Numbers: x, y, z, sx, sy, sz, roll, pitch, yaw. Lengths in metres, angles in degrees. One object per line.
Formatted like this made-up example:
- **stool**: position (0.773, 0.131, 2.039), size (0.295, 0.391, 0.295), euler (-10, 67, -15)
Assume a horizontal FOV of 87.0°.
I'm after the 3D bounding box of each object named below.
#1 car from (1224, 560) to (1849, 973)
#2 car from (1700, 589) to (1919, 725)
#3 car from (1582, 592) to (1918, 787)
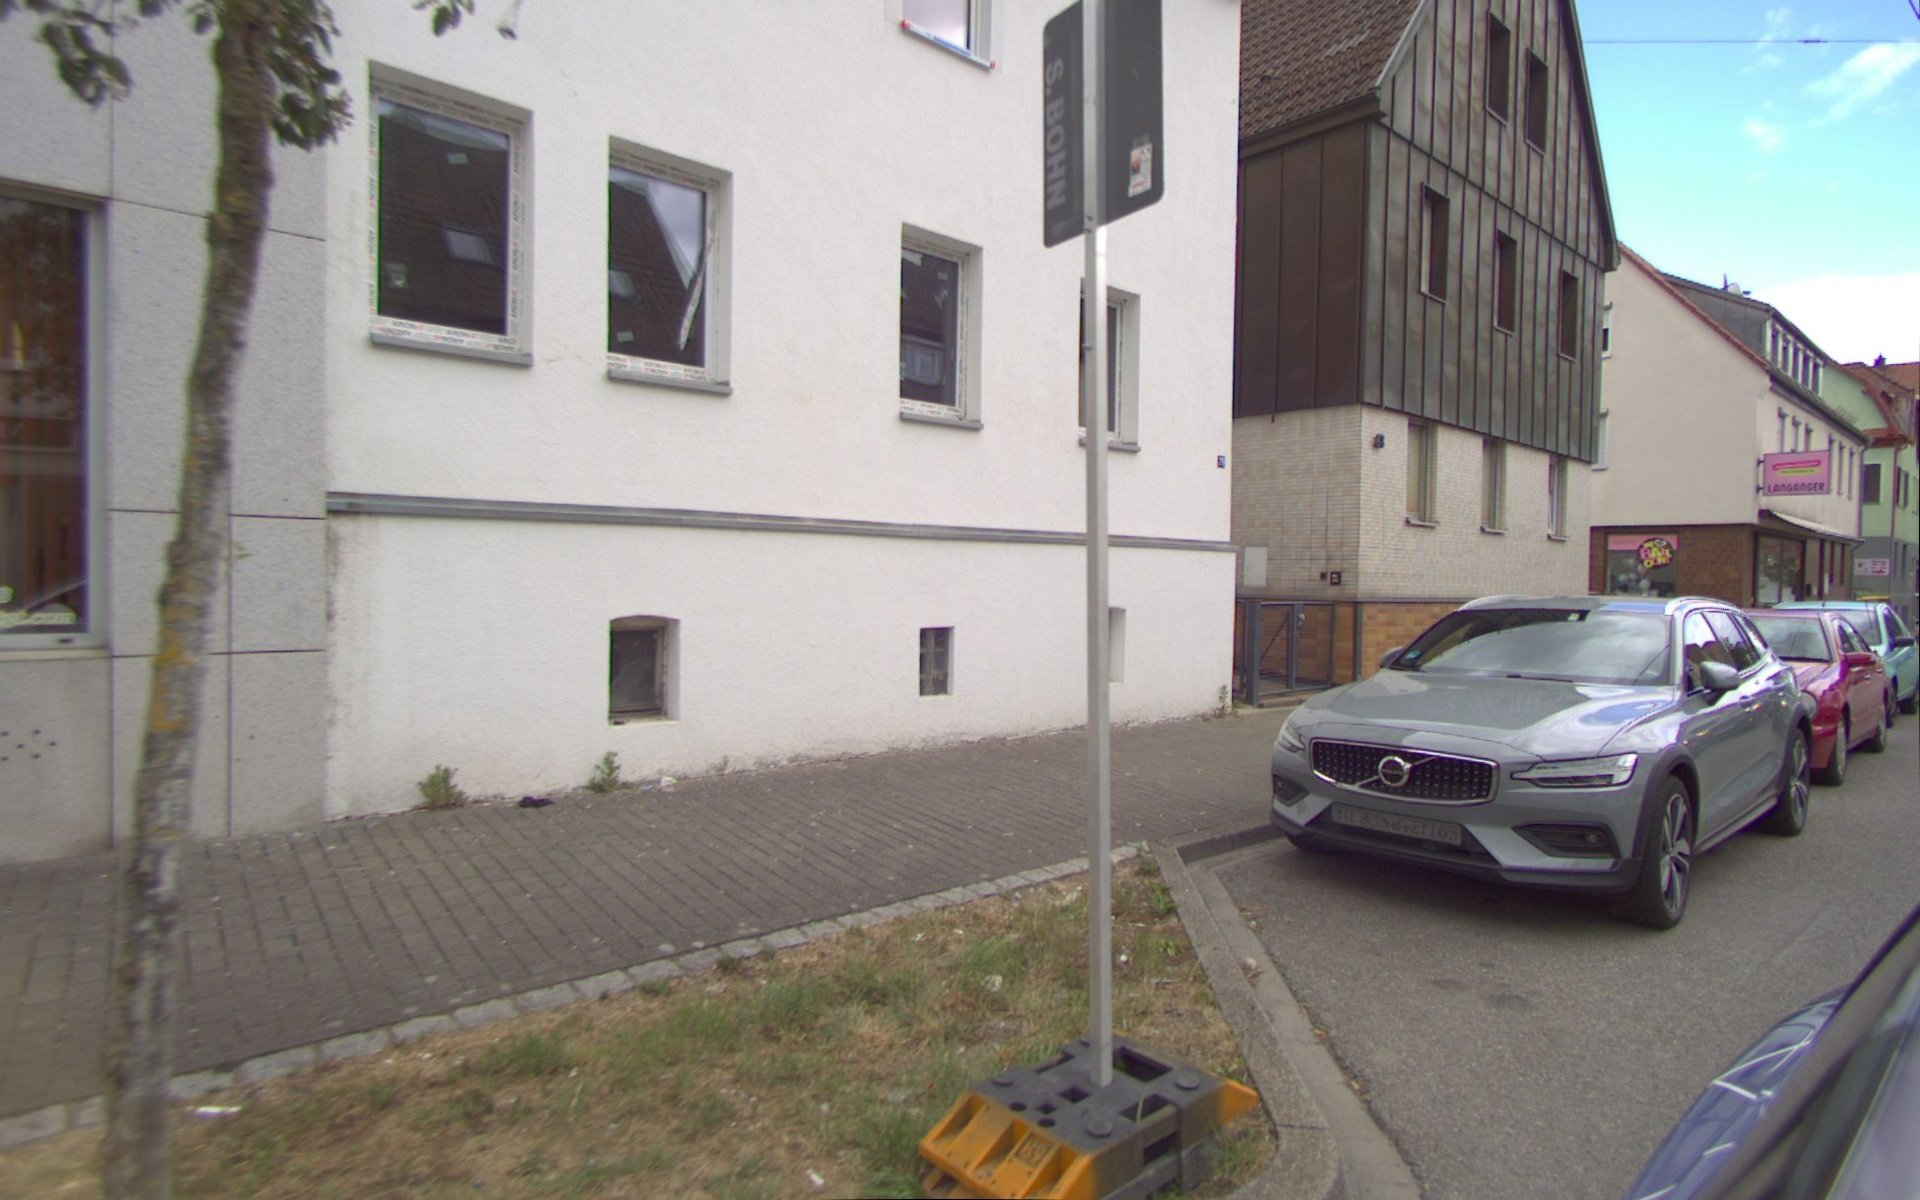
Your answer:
- **car**: position (3.647, 0.597, 5.996), size (4.434, 1.558, 1.879), euler (0, 1, -41)
- **car**: position (11.466, 0.630, 13.401), size (3.923, 1.516, 1.835), euler (0, 1, -40)
- **car**: position (7.763, 0.661, 9.780), size (4.377, 1.464, 1.758), euler (0, 1, -41)
